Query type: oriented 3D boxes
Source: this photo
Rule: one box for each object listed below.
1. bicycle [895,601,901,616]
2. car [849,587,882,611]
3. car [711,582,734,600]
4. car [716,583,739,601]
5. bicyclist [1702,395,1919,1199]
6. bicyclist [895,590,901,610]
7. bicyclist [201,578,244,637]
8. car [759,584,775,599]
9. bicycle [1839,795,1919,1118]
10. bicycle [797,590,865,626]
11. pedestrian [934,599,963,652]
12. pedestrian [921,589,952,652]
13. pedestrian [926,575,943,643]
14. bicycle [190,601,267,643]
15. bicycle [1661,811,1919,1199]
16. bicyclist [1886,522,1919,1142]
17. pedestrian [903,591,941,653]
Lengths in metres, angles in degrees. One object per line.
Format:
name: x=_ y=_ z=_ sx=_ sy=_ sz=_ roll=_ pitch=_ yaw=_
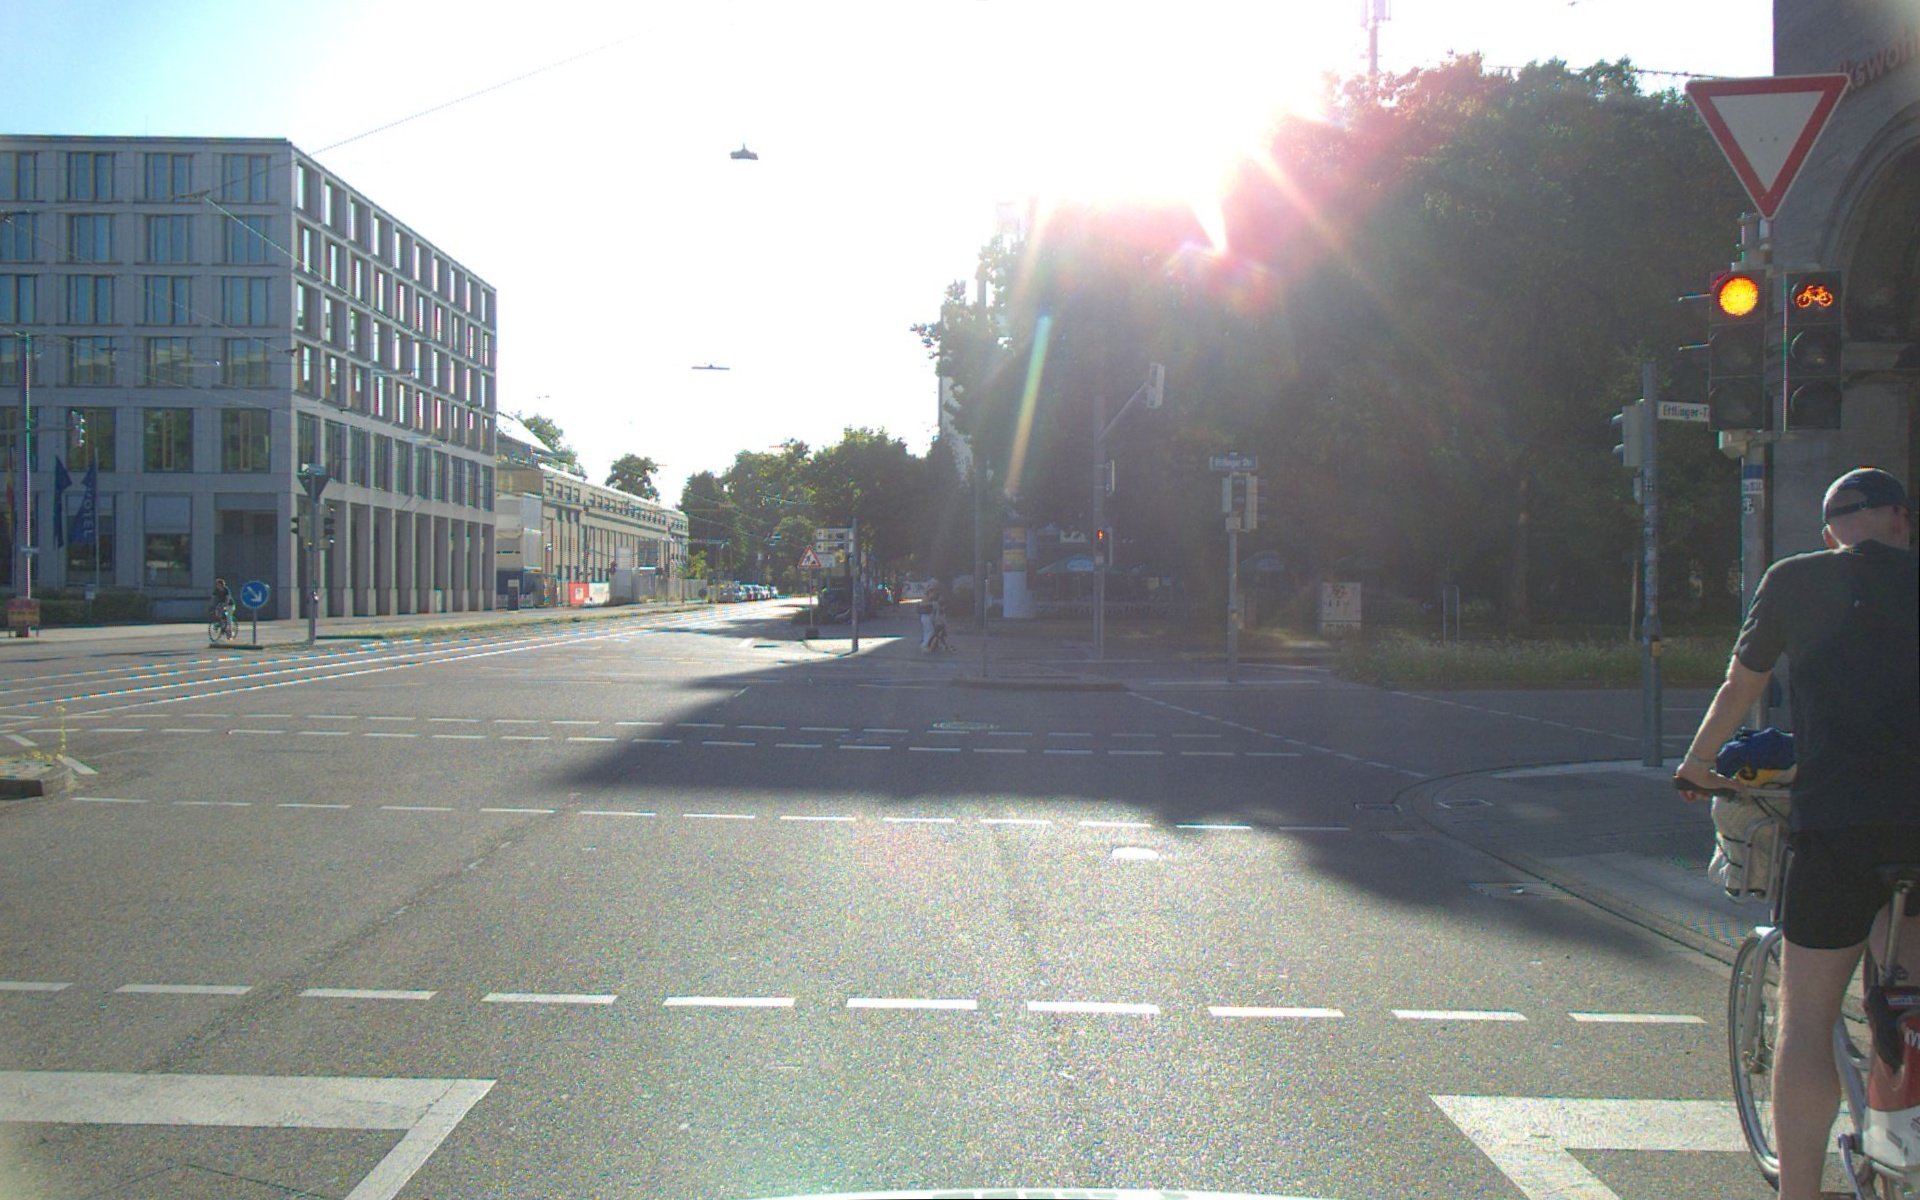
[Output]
bicycle: x=-3.665 y=0.504 z=98.335 sx=0.317 sy=0.883 sz=1.483 roll=0 pitch=0 yaw=-1
car: x=-5.285 y=-0.064 z=92.506 sx=1.783 sy=1.301 sz=3.998 roll=0 pitch=0 yaw=-3
car: x=-22.356 y=-0.843 z=155.698 sx=1.695 sy=1.682 sz=3.999 roll=0 pitch=0 yaw=-1
car: x=-22.492 y=-0.802 z=159.795 sx=1.695 sy=1.682 sz=3.999 roll=0 pitch=0 yaw=-1
bicyclist: x=2.128 y=0.426 z=3.741 sx=0.655 sy=1.707 sz=0.657 roll=0 pitch=0 yaw=8
bicyclist: x=-3.673 y=0.010 z=98.264 sx=0.312 sy=1.147 sz=0.291 roll=0 pitch=0 yaw=-1
bicyclist: x=-21.129 y=0.205 z=47.411 sx=0.857 sy=1.670 sz=0.822 roll=0 pitch=0 yaw=0
car: x=-22.656 y=-0.980 z=194.019 sx=1.453 sy=1.780 sz=3.999 roll=0 pitch=0 yaw=-1
bicycle: x=3.012 y=1.079 z=4.351 sx=0.418 sy=0.891 sz=1.951 roll=0 pitch=0 yaw=2
bicycle: x=-5.227 y=0.331 z=67.051 sx=2.688 sy=1.391 sz=0.631 roll=1 pitch=-1 yaw=10
pedestrian: x=-0.305 y=0.655 z=42.995 sx=0.737 sy=1.356 sz=0.742 roll=0 pitch=0 yaw=0
pedestrian: x=-0.627 y=0.535 z=43.852 sx=0.779 sy=1.668 sz=0.533 roll=0 pitch=0 yaw=2
pedestrian: x=-0.687 y=0.248 z=44.707 sx=0.353 sy=1.836 sz=0.507 roll=0 pitch=0 yaw=11
bicycle: x=-21.179 y=0.618 z=47.974 sx=0.857 sy=1.140 sz=3.013 roll=0 pitch=0 yaw=0
bicycle: x=2.142 y=1.091 z=3.916 sx=0.381 sy=0.921 sz=1.952 roll=0 pitch=0 yaw=8
bicyclist: x=2.889 y=0.640 z=4.286 sx=0.511 sy=1.709 sz=0.859 roll=0 pitch=0 yaw=2
pedestrian: x=-0.993 y=0.575 z=43.482 sx=0.964 sy=1.615 sz=0.660 roll=0 pitch=-1 yaw=1
